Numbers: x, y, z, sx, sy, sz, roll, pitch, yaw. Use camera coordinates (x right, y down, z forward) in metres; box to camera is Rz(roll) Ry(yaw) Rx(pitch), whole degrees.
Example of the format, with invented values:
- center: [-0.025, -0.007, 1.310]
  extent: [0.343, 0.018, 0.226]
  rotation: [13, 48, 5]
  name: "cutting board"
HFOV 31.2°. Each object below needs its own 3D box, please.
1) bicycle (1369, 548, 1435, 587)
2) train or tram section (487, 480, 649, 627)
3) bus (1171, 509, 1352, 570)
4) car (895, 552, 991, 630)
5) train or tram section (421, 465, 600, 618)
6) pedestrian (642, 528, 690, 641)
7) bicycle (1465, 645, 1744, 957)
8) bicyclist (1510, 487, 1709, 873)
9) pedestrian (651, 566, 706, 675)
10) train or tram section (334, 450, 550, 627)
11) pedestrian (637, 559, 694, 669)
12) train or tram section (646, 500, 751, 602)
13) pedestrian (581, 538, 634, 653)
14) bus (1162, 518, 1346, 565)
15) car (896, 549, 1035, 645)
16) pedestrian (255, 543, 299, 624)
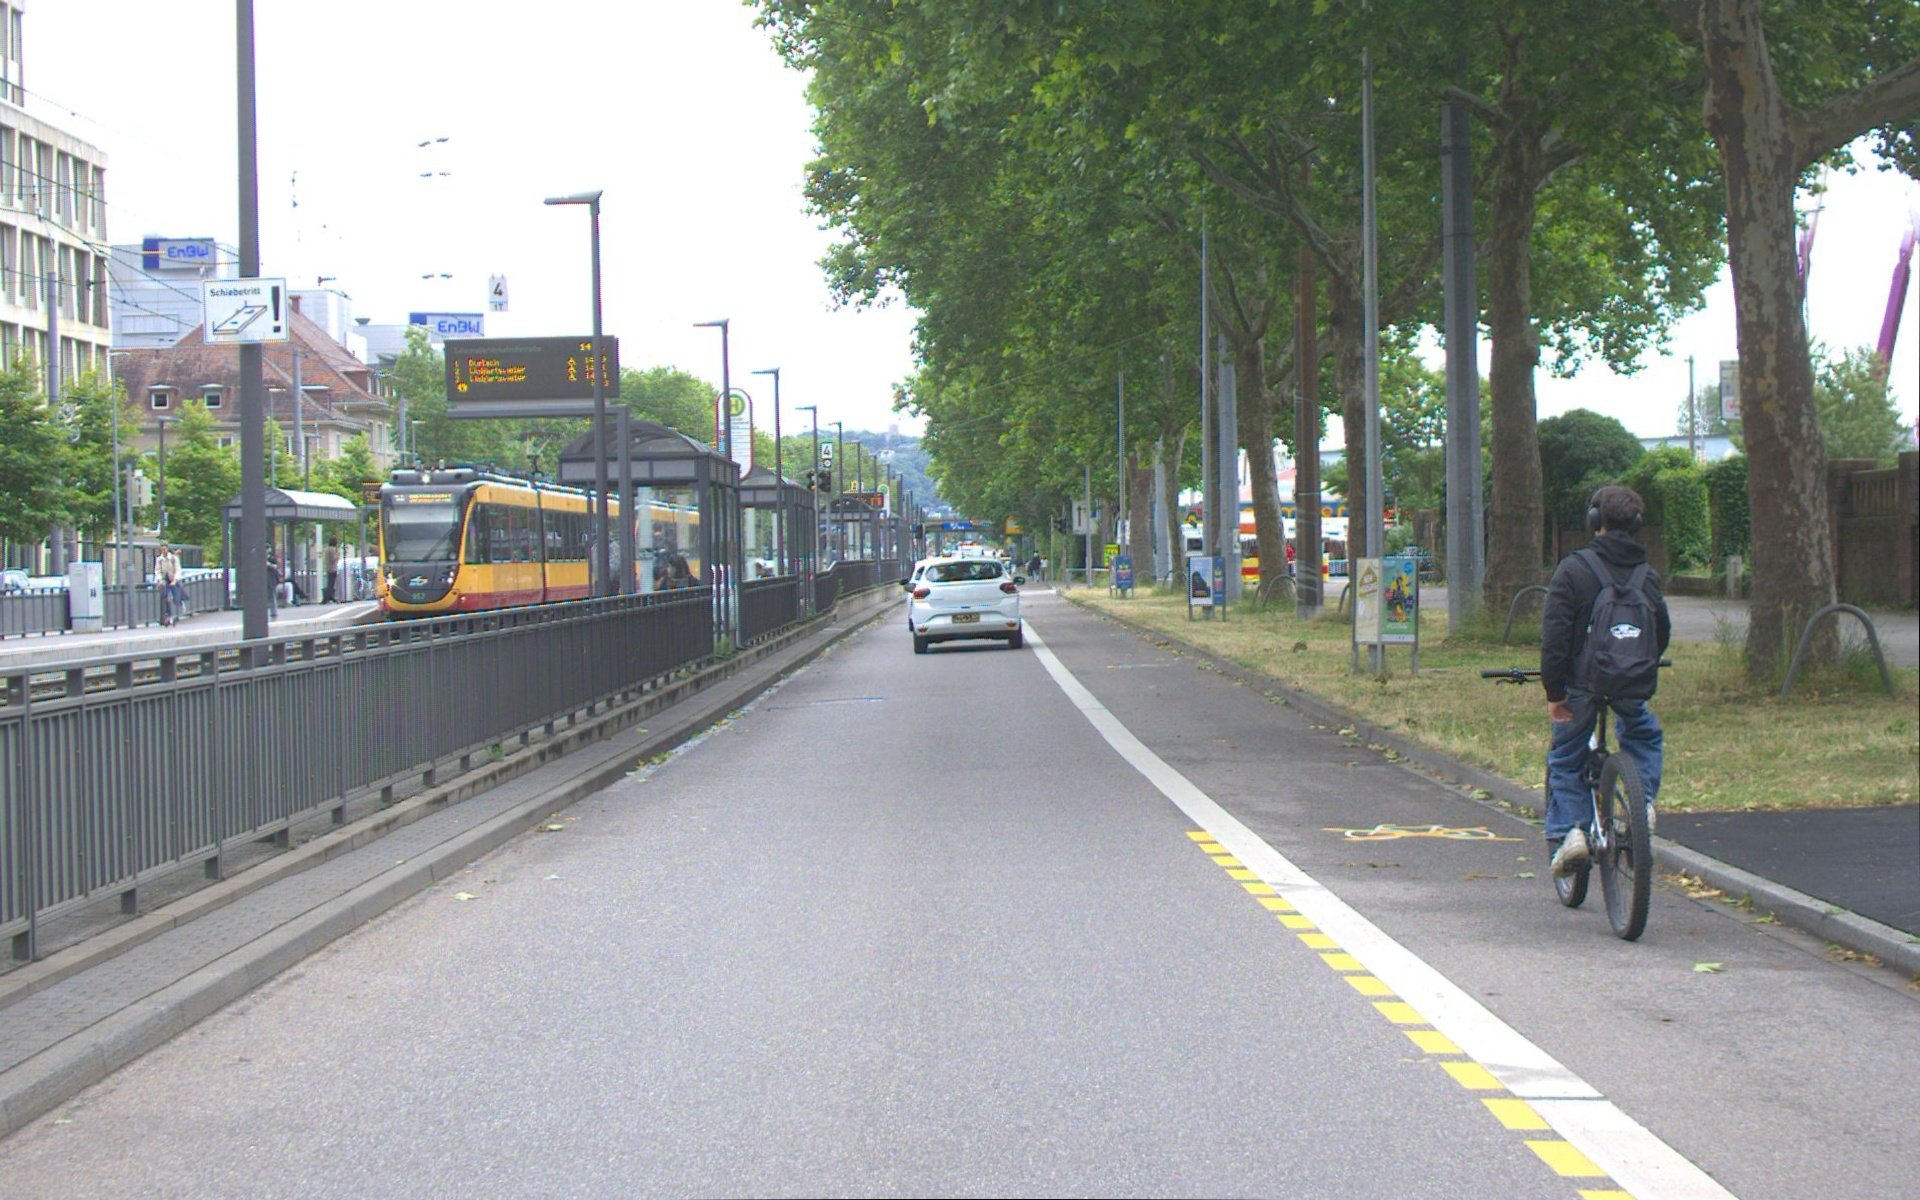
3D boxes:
- center: [13.400, -0.981, 104.245]
  extent: [1.890, 1.101, 0.550]
  rotation: [-3, 0, -1]
  name: "bicycle"
- center: [-11.927, -1.354, 105.926]
  extent: [3.180, 4.164, 13.620]
  rotation: [-1, 0, 1]
  name: "train or tram section"
- center: [15.907, -3.190, 181.641]
  extent: [9.276, 2.950, 2.000]
  rotation: [-1, 0, -2]
  name: "bus"
- center: [-0.340, -0.209, 73.016]
  extent: [1.841, 1.547, 4.000]
  rotation: [-2, 1, 2]
  name: "car"
- center: [-12.060, -1.503, 93.328]
  extent: [3.163, 3.849, 11.311]
  rotation: [-1, 0, 1]
  name: "train or tram section"
- center: [-4.742, -0.248, 55.327]
  extent: [0.670, 1.787, 1.113]
  rotation: [-1, 0, -8]
  name: "pedestrian"
- center: [2.637, 0.785, 14.320]
  extent: [0.652, 1.146, 2.283]
  rotation: [-1, 0, -2]
  name: "bicycle"
- center: [2.645, 0.319, 14.059]
  extent: [0.641, 1.525, 0.665]
  rotation: [-1, 0, -1]
  name: "bicyclist"
- center: [-3.584, 0.259, 43.803]
  extent: [0.610, 1.368, 0.600]
  rotation: [-1, 0, 1]
  name: "pedestrian"
- center: [-12.190, -1.384, 82.017]
  extent: [3.237, 3.849, 11.311]
  rotation: [-1, 0, 1]
  name: "train or tram section"
- center: [-3.642, 0.166, 42.518]
  extent: [0.610, 1.336, 0.600]
  rotation: [-1, 0, 1]
  name: "pedestrian"
- center: [-11.266, -2.036, 149.435]
  extent: [3.180, 4.164, 14.734]
  rotation: [-1, 0, 1]
  name: "train or tram section"
- center: [-5.608, -0.074, 54.623]
  extent: [0.670, 1.787, 1.113]
  rotation: [-1, 0, -13]
  name: "pedestrian"
- center: [15.245, -3.040, 178.510]
  extent: [9.276, 2.220, 2.000]
  rotation: [-1, 0, -2]
  name: "bus"
- center: [0.123, -0.057, 55.623]
  extent: [1.885, 1.448, 3.999]
  rotation: [-1, 0, 5]
  name: "car"
- center: [-15.219, -0.368, 76.614]
  extent: [0.711, 1.789, 1.160]
  rotation: [-1, 0, -1]
  name: "pedestrian"
